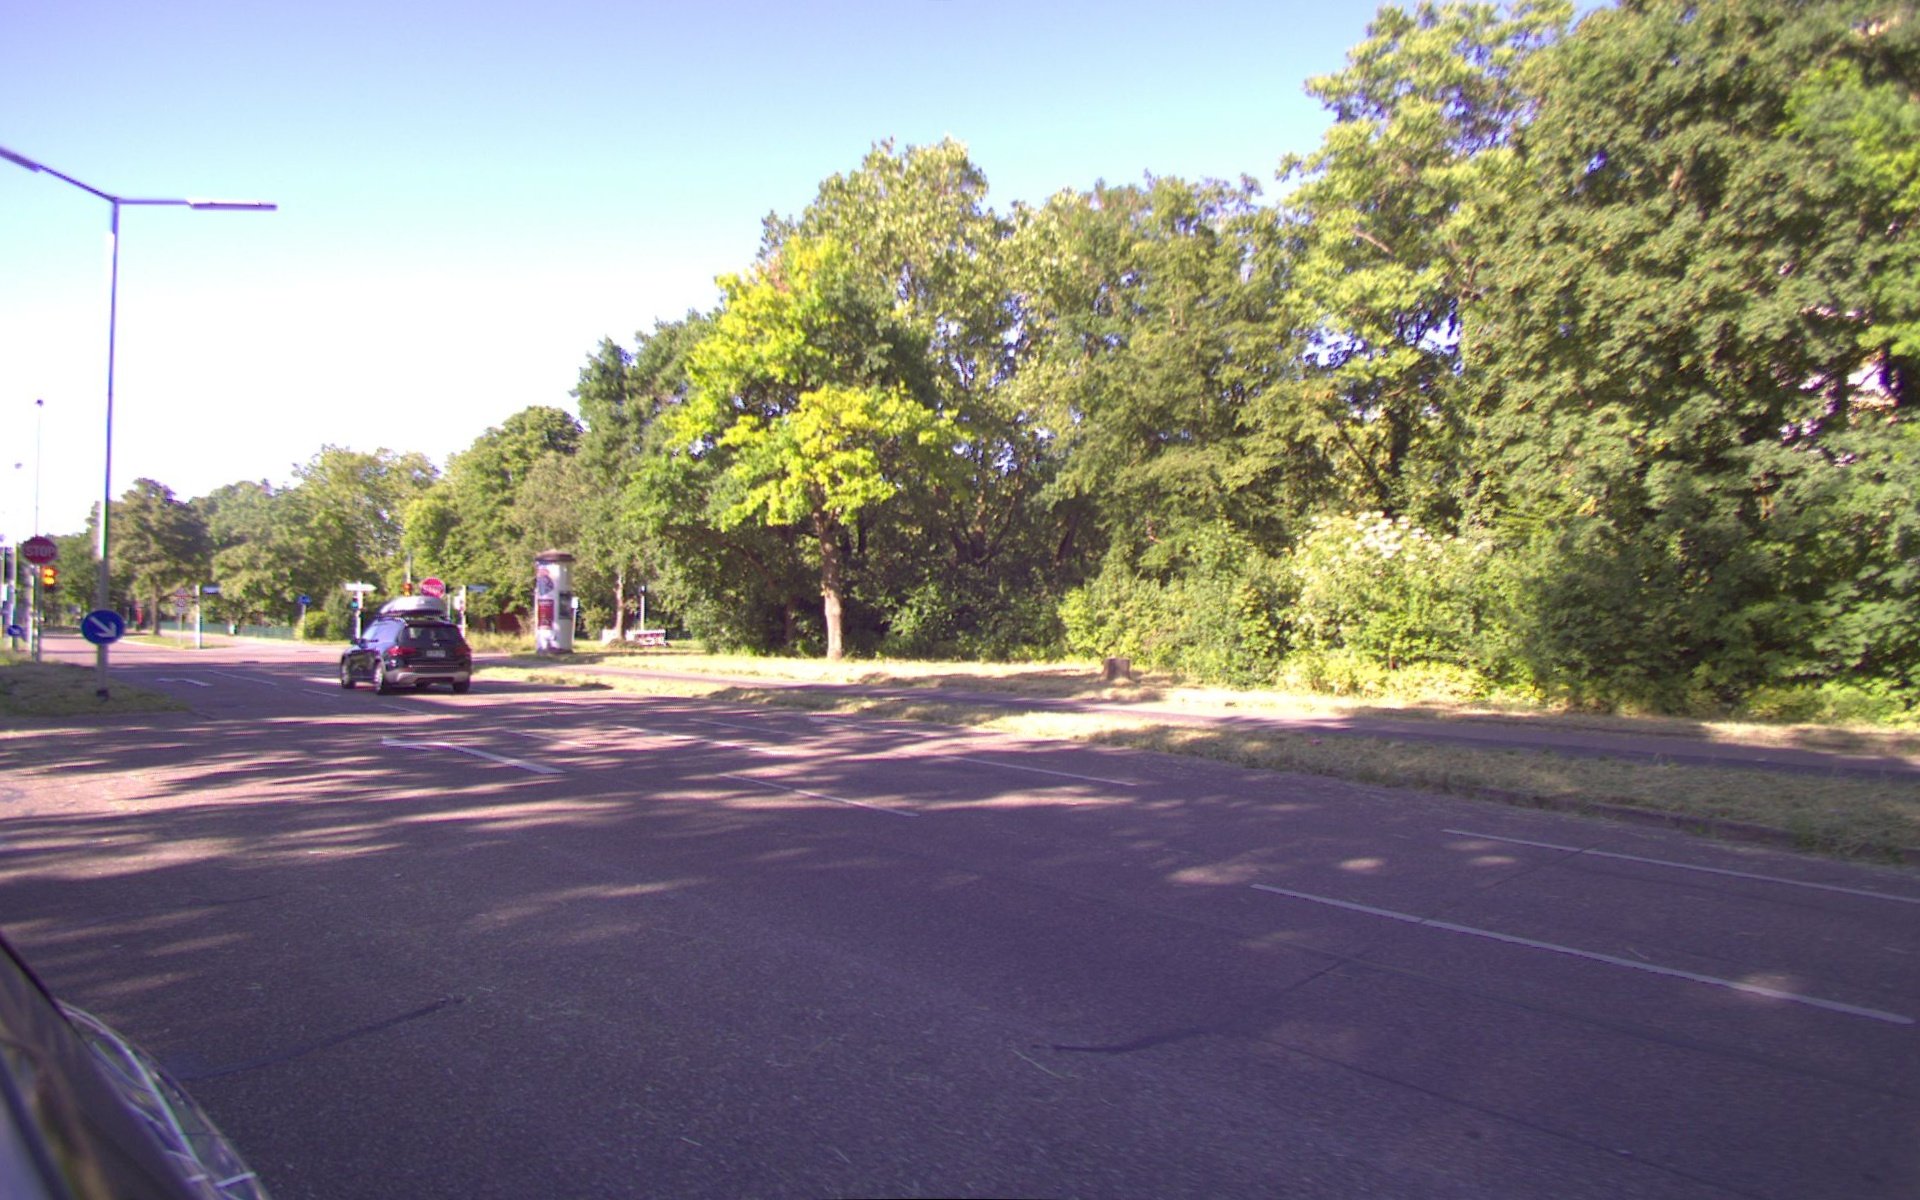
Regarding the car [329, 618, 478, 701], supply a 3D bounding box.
[{"bbox_3d":[-12.787,1.299,23.129,1.818,1.721,4.508,3,-3,-44],"label":"car"}]
